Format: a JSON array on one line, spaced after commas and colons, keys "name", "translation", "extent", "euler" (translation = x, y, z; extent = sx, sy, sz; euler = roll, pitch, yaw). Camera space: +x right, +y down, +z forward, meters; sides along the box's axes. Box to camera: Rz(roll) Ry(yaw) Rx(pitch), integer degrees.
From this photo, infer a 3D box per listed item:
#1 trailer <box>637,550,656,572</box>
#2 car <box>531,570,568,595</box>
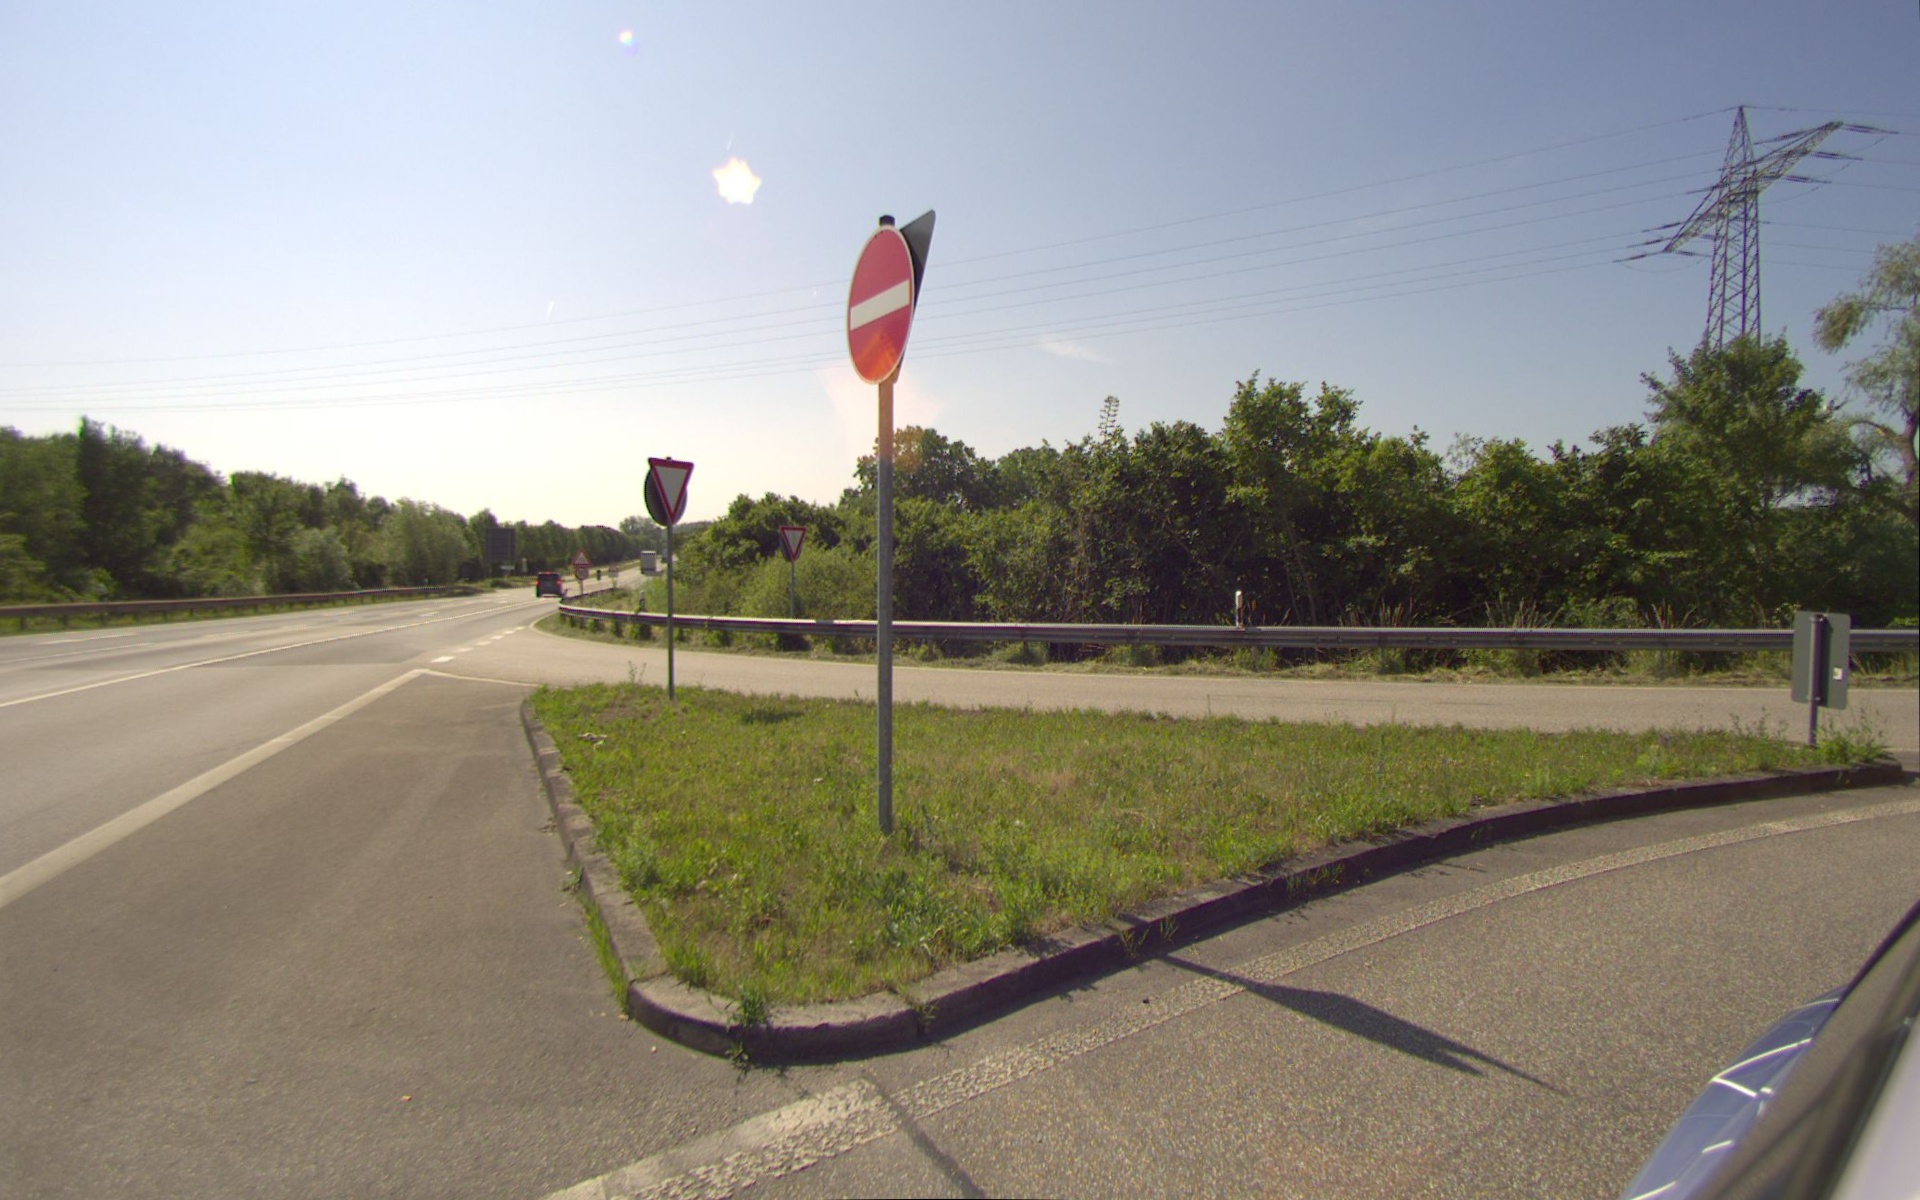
[{"name": "trailer", "translation": [-60.348, -7.425, 195.106], "extent": [2.869, 4.060, 13.447], "euler": [-1, 2, -14]}, {"name": "car", "translation": [-32.142, -1.337, 79.392], "extent": [1.958, 1.903, 5.004], "euler": [0, 1, -14]}]
